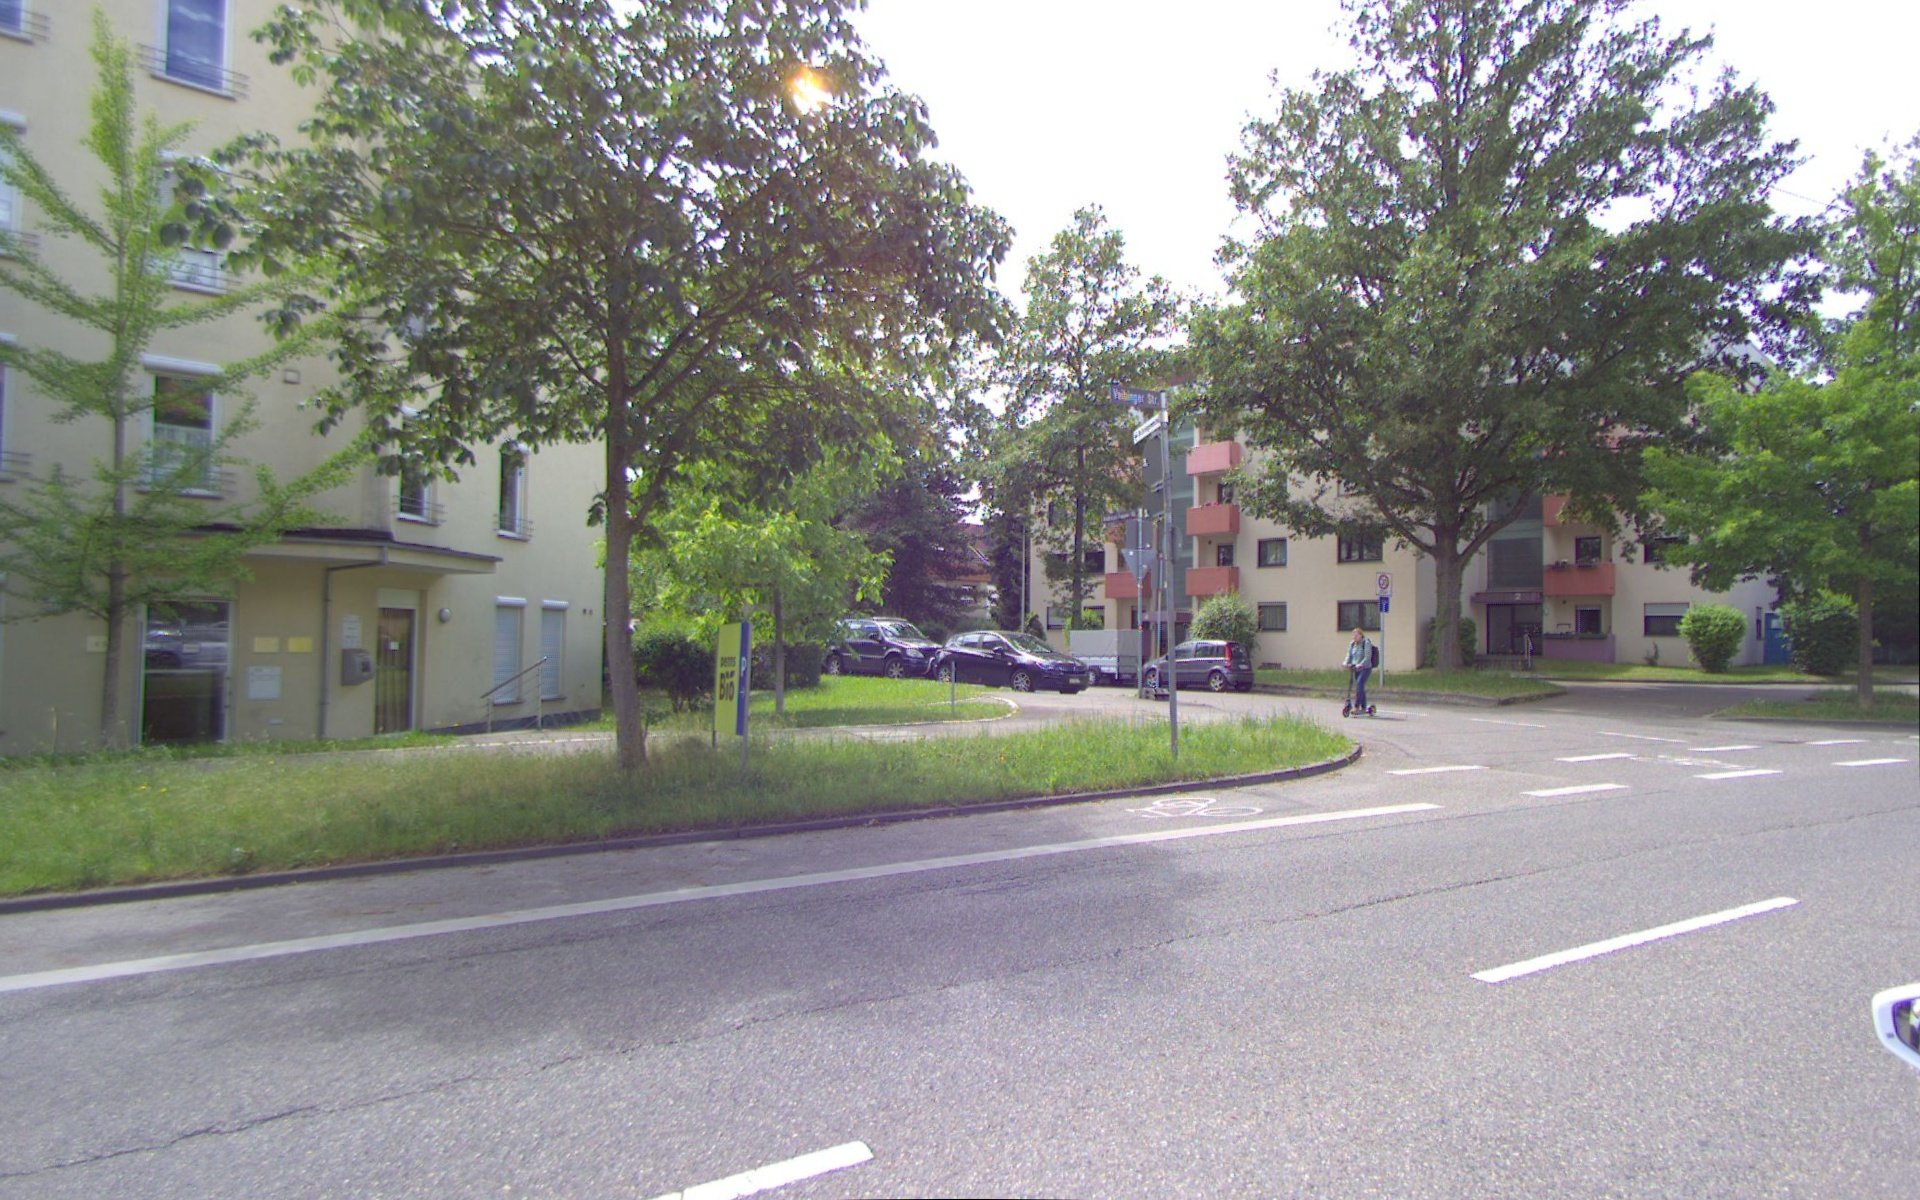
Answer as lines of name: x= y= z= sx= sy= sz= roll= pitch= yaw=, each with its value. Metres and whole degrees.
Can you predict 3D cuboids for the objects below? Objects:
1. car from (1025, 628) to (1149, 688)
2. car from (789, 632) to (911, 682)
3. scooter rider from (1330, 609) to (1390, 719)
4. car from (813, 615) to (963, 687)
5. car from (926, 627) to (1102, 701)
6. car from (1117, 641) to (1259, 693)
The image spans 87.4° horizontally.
car: x=4.263 y=2.025 z=34.039 sx=1.833 sy=1.867 sz=3.952 roll=6 pitch=-8 yaw=-42
car: x=-4.295 y=2.179 z=39.199 sx=4.337 sy=1.817 sz=2.124 roll=-1 pitch=-2 yaw=28
scooter rider: x=7.641 y=1.202 z=19.185 sx=0.785 sy=2.040 sz=0.673 roll=2 pitch=0 yaw=-30
car: x=-2.071 y=1.349 z=27.873 sx=1.857 sy=1.675 sz=4.379 roll=2 pitch=0 yaw=-41
car: x=1.197 y=1.443 z=23.763 sx=1.725 sy=1.417 sz=4.100 roll=2 pitch=0 yaw=-42
car: x=6.922 y=2.001 z=30.677 sx=3.945 sy=1.471 sz=1.687 roll=-2 pitch=-4 yaw=43
